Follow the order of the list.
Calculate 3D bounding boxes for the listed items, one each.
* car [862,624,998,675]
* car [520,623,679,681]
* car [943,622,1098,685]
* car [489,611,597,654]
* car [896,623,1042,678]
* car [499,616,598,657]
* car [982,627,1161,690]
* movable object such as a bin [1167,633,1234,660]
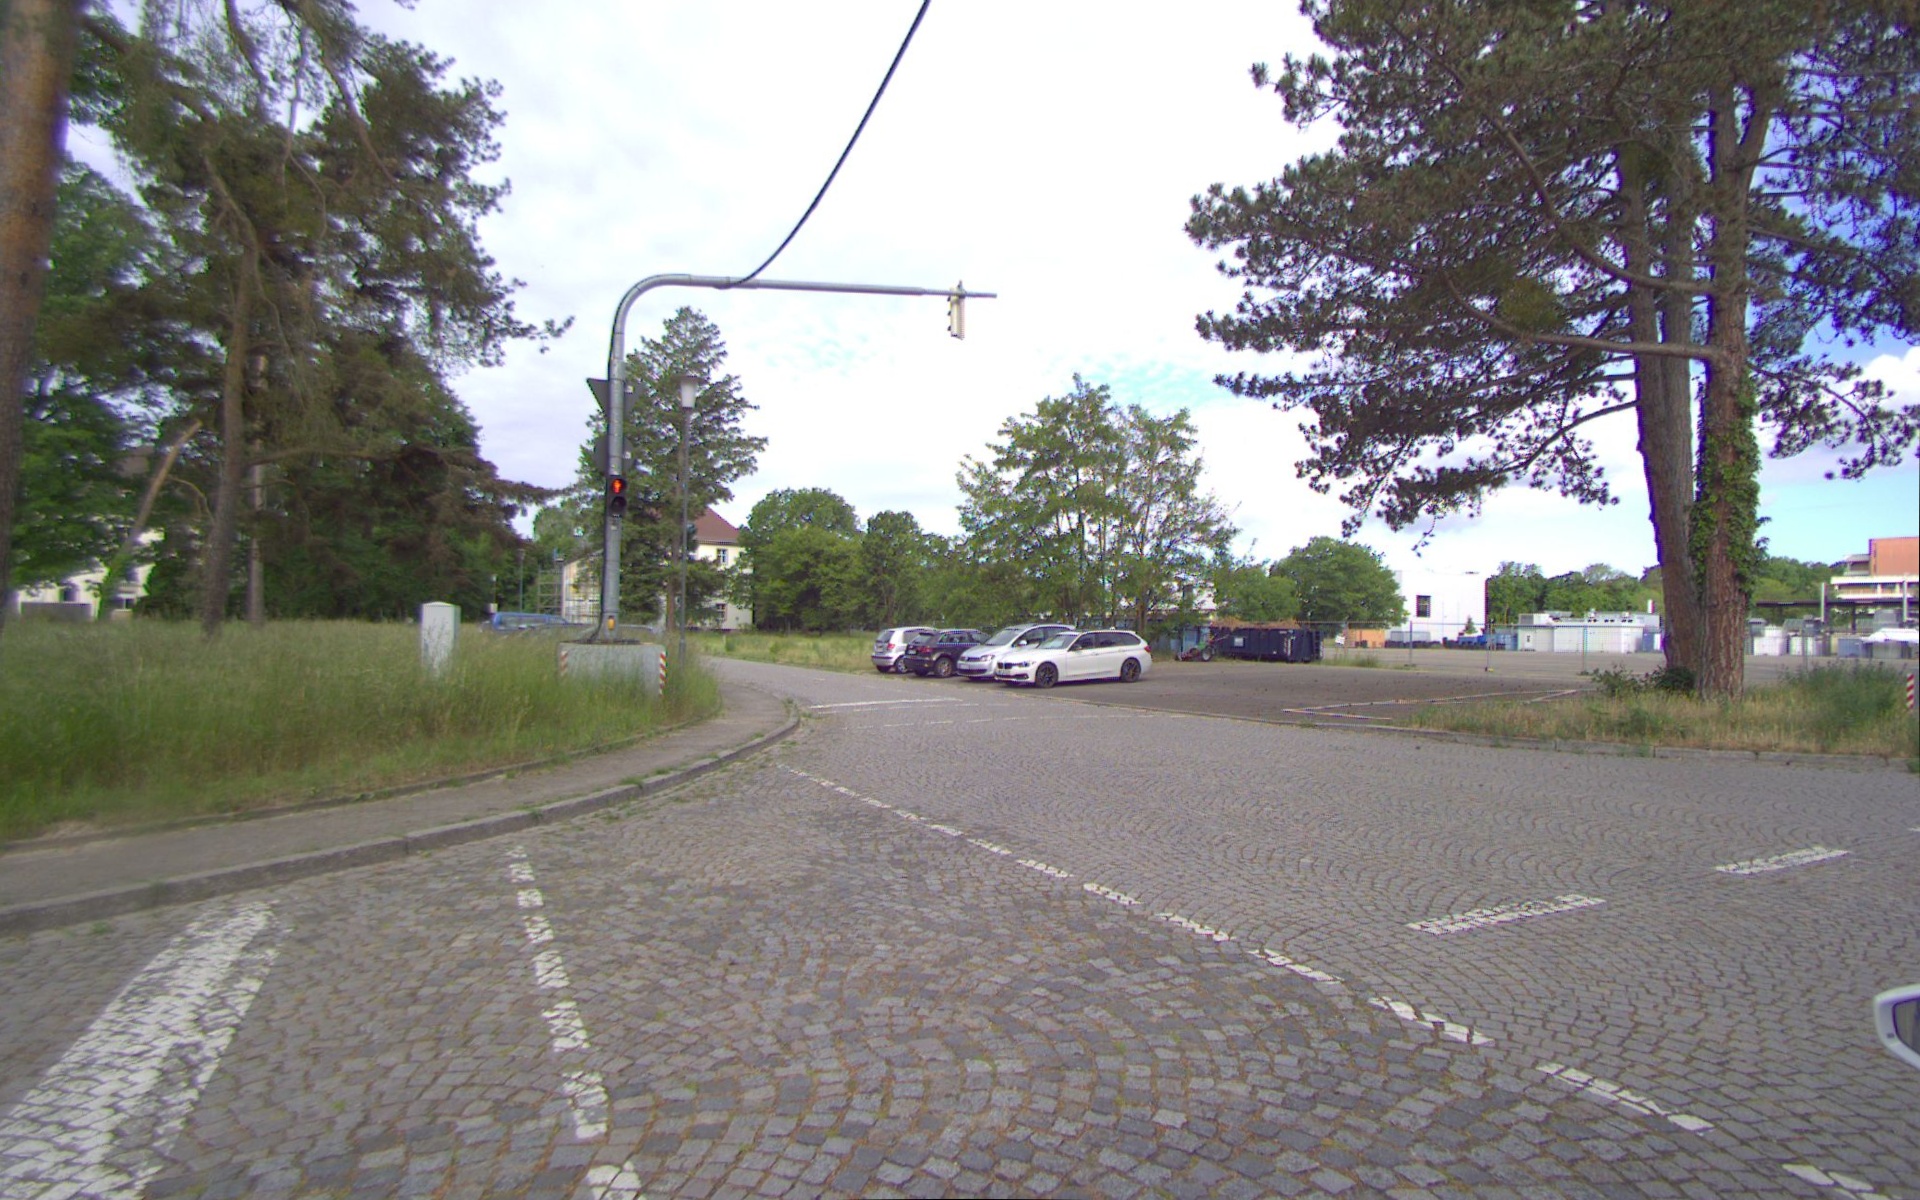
[{"bbox_3d":[-0.982,1.657,33.919,4.277,1.587,1.784,2,-2,-32],"label":"car"},{"bbox_3d":[-10.028,1.437,27.972,3.952,1.492,1.678,2,-2,-29],"label":"car"},{"bbox_3d":[1.795,1.493,29.338,4.277,1.605,1.812,-1,0,-32],"label":"car"},{"bbox_3d":[-20.374,1.582,49.133,4.733,2.007,1.984,1,-1,-28],"label":"car"},{"bbox_3d":[0.298,1.535,31.572,4.277,1.522,1.845,-1,0,-32],"label":"car"},{"bbox_3d":[-18.170,1.610,44.388,3.947,1.737,1.680,1,-1,-26],"label":"car"},{"bbox_3d":[3.046,1.522,27.100,4.685,1.461,1.801,0,0,-31],"label":"car"},{"bbox_3d":[9.823,1.910,40.936,2.630,1.061,1.171,2,-2,-33],"label":"movable object such as a bin"}]
